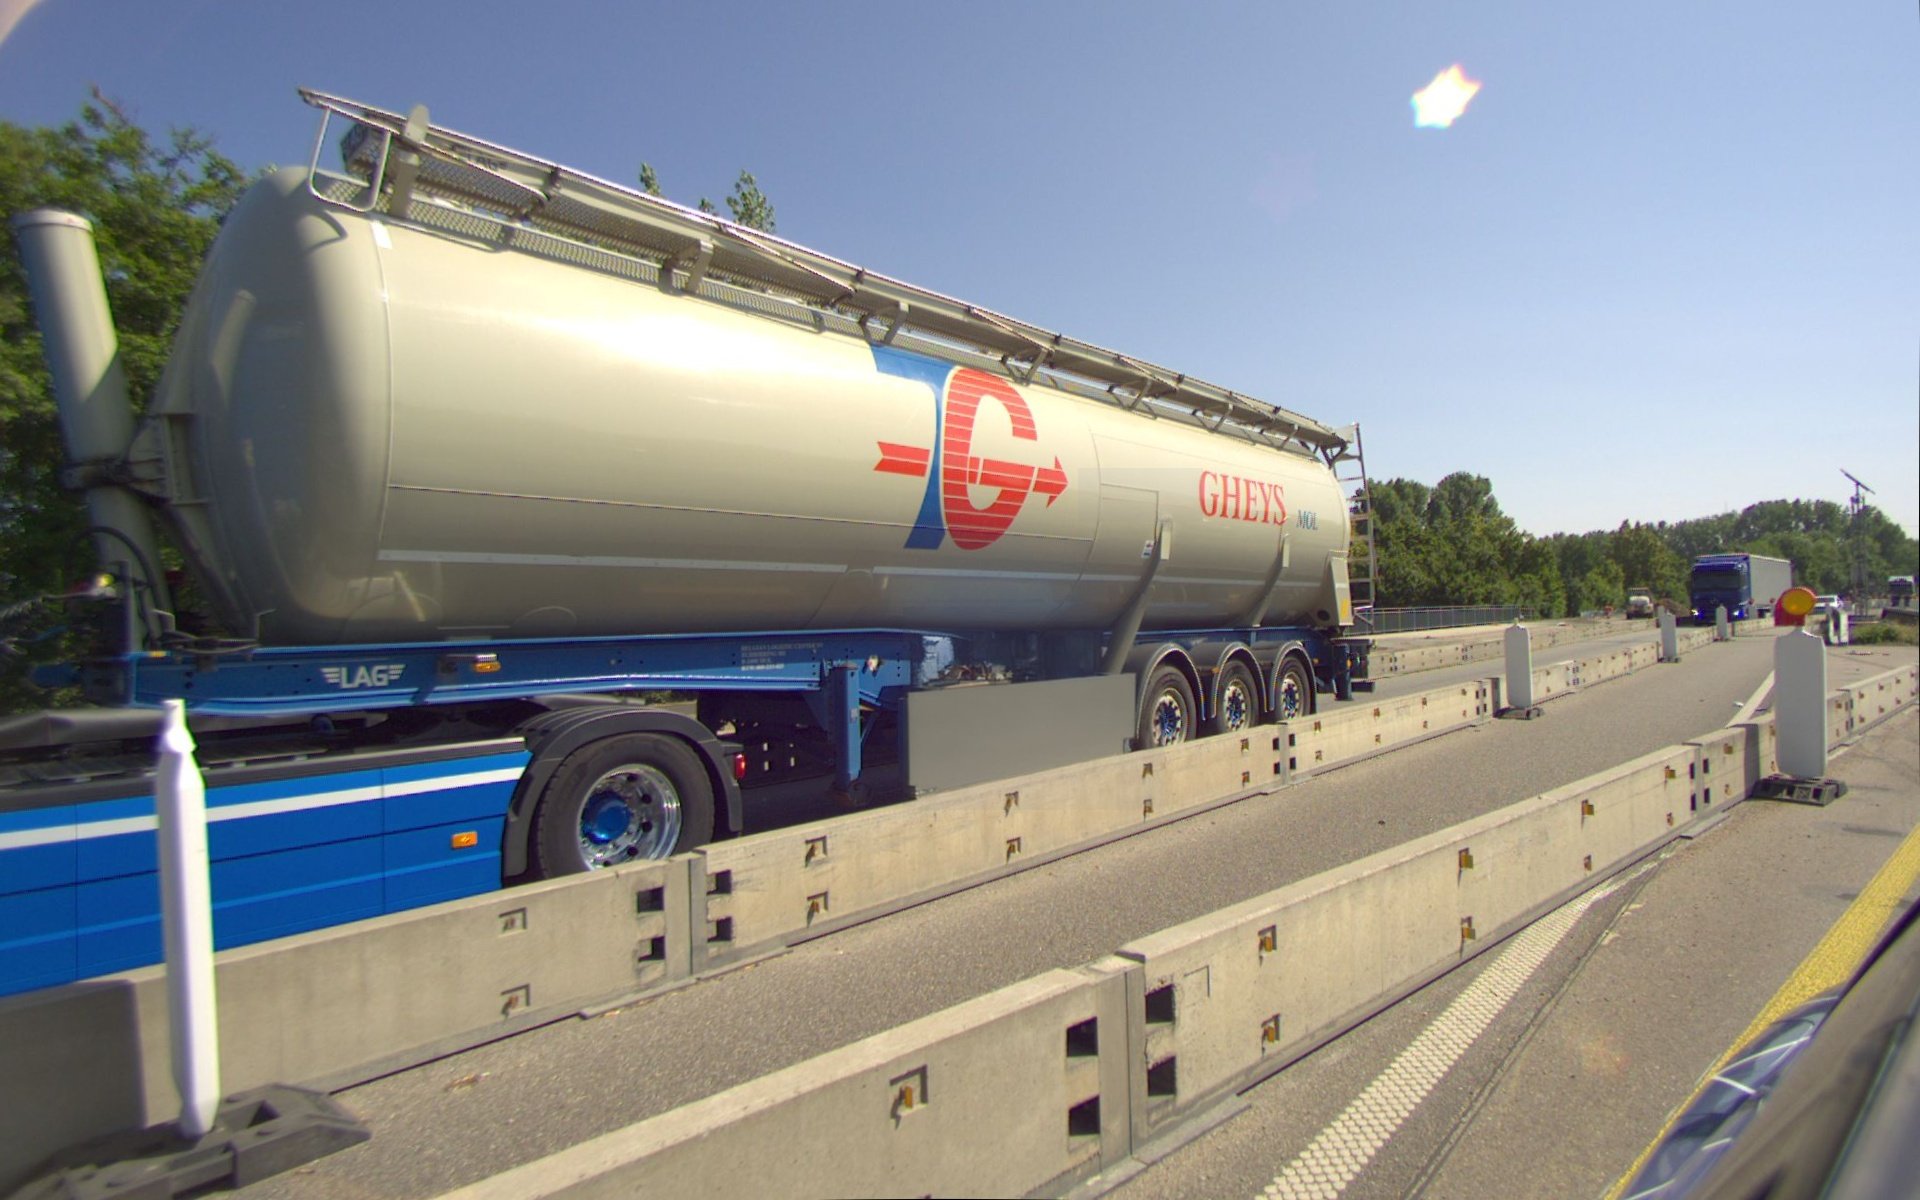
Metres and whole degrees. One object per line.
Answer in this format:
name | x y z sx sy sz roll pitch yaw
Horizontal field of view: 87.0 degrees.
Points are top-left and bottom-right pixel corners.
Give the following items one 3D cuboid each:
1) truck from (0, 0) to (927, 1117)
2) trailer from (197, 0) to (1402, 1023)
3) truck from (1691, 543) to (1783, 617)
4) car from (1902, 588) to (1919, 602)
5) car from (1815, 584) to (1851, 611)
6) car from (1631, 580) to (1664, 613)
truck | -3.643 -0.363 4.878 2.692 4.155 7.190 -2 -1 42
trailer | 0.659 -0.436 9.662 2.692 4.190 12.424 -2 -1 42
truck | 45.279 -1.131 58.885 8.521 4.036 2.856 -1 -1 -44
car | 117.737 -0.667 125.044 4.026 1.651 1.743 -1 -1 -45
car | 68.951 -0.208 79.887 1.992 2.039 3.939 -2 -1 42
car | 58.815 -0.327 86.510 2.098 2.676 5.906 -2 -1 36
